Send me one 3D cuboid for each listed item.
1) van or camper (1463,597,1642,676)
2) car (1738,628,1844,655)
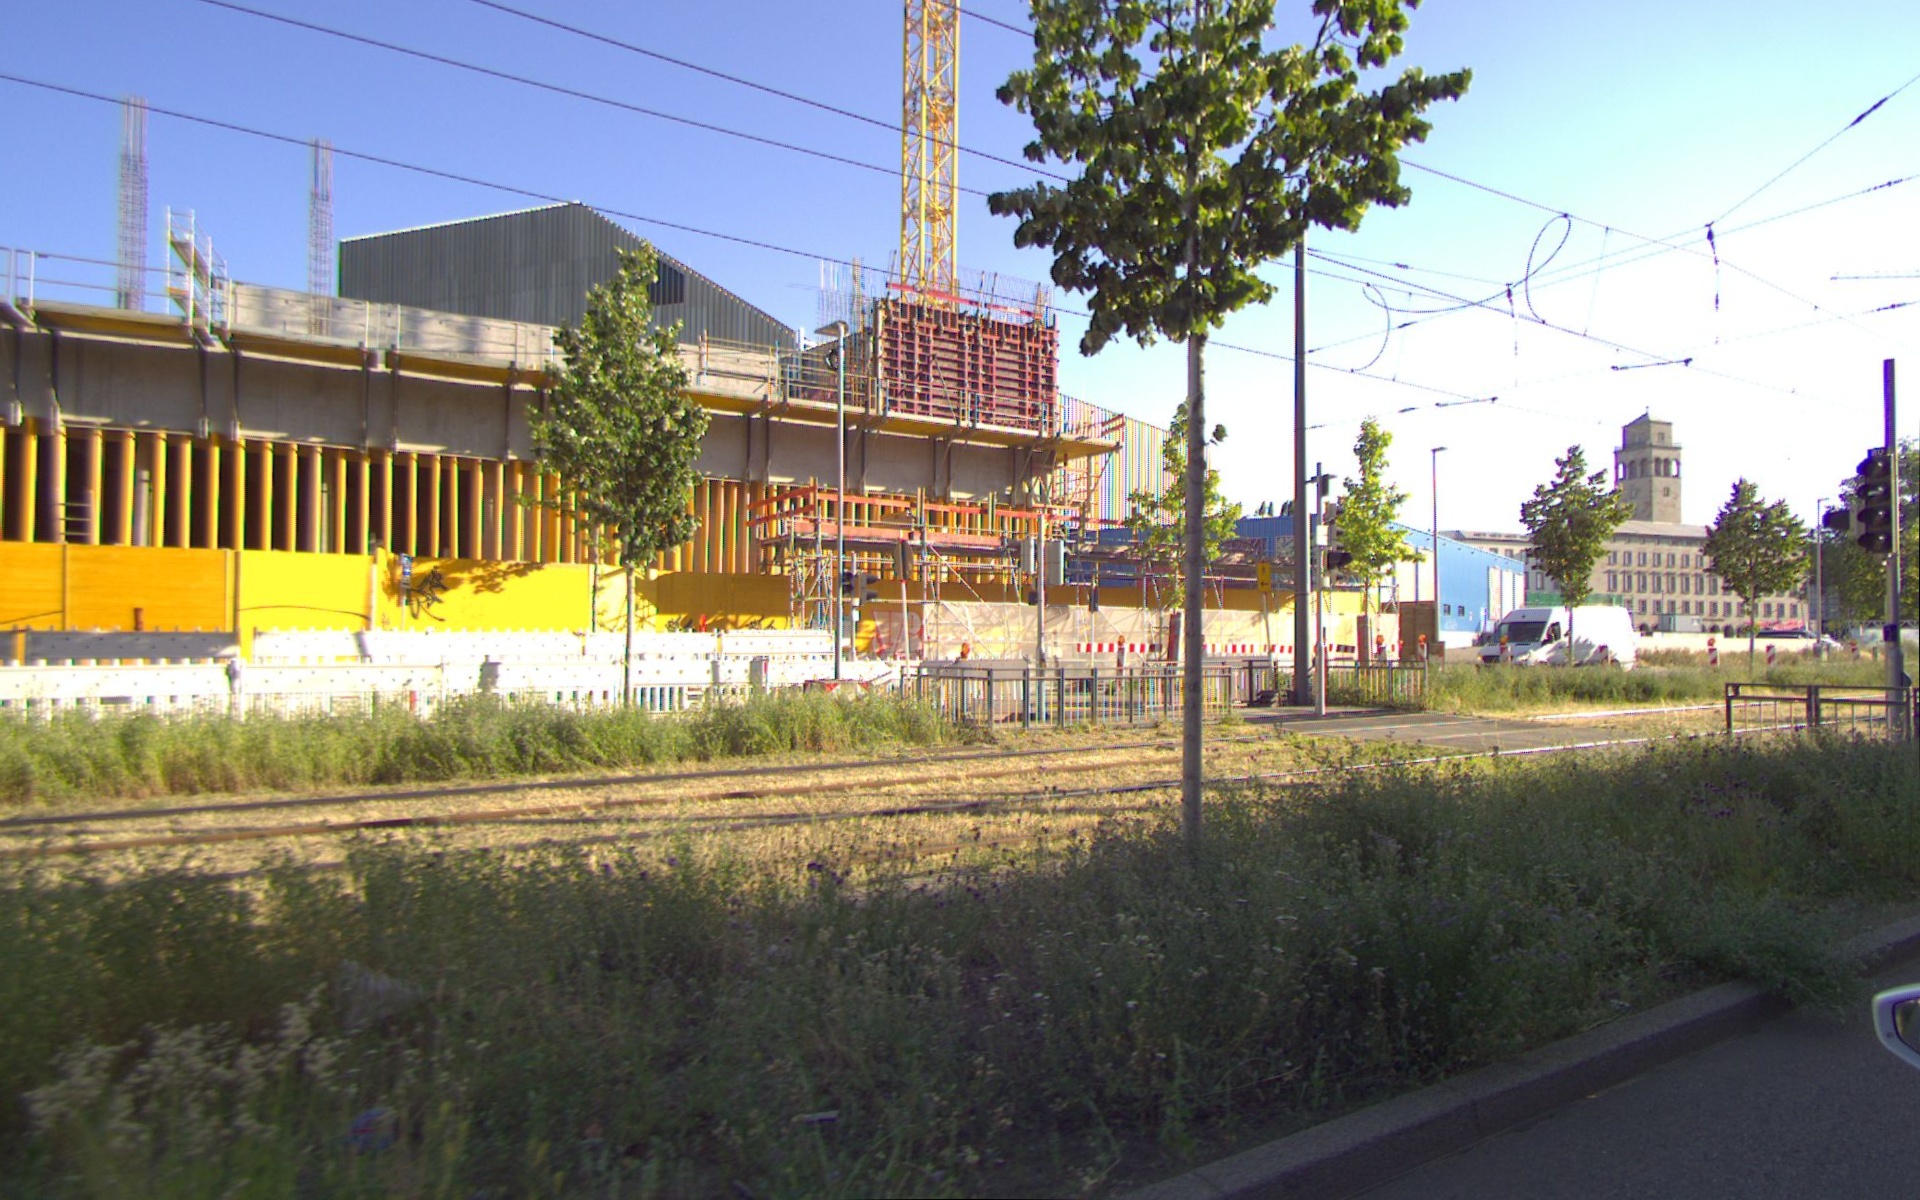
[{"bbox_3d":[20.633,1.269,34.842,7.119,2.542,2.211,1,-3,-32],"label":"van or camper"},{"bbox_3d":[56.752,2.788,68.748,2.096,1.739,5.212,1,-2,-25],"label":"car"}]
